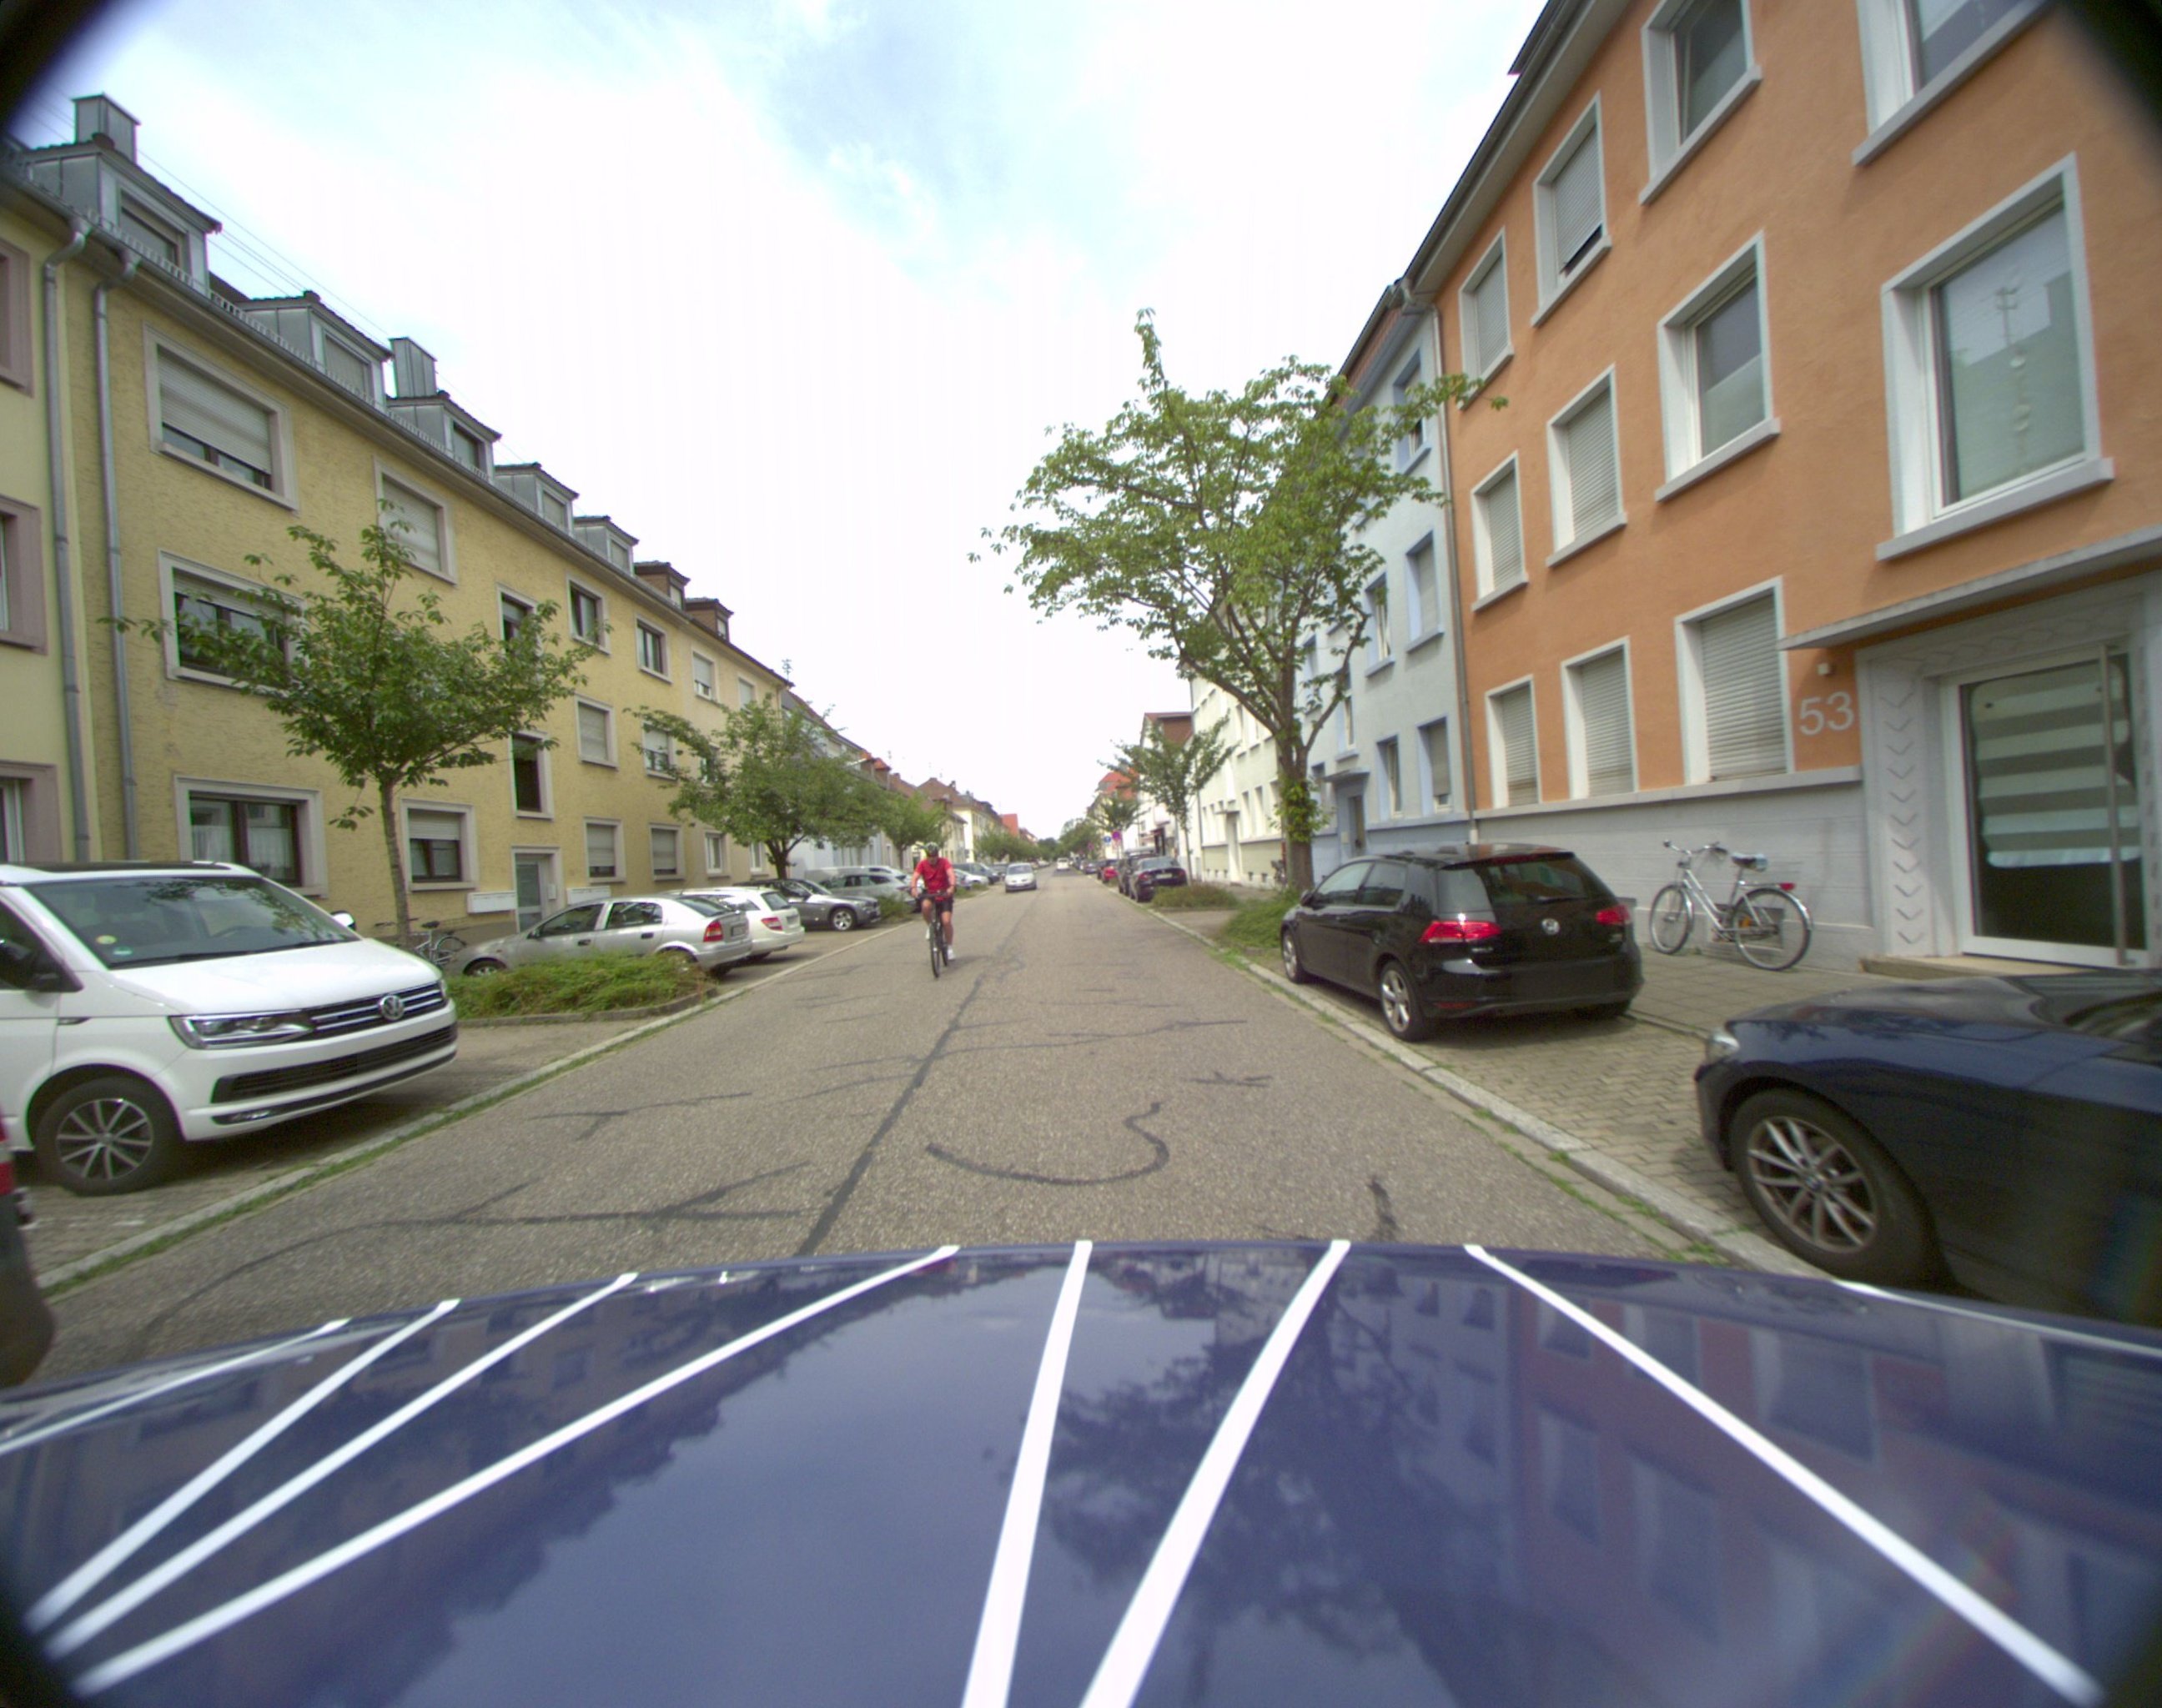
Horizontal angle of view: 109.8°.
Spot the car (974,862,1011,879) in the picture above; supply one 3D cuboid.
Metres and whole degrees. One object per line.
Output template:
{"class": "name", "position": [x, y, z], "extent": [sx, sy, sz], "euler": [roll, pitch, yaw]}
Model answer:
{"class": "car", "position": [-8.699, 1.627, 74.589], "extent": [3.442, 1.438, 1.646], "euler": [-4, 0, -5]}

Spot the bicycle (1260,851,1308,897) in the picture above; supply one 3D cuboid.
{"class": "bicycle", "position": [4.305, 0.406, 16.216], "extent": [0.414, 0.868, 1.538], "euler": [-13, 1, -1]}

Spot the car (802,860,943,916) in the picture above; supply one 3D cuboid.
{"class": "car", "position": [-7.772, 1.245, 28.622], "extent": [4.751, 1.899, 1.850], "euler": [-2, 1, -1]}

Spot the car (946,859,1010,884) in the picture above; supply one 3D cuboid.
{"class": "car", "position": [-8.088, 1.367, 59.973], "extent": [4.720, 1.816, 1.870], "euler": [-2, 1, -1]}

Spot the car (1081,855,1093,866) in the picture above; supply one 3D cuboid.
{"class": "car", "position": [0.928, 0.896, 111.676], "extent": [1.626, 1.495, 3.442], "euler": [-2, 0, -1]}

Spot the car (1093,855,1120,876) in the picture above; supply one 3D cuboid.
{"class": "car", "position": [1.877, 0.841, 56.444], "extent": [1.711, 1.477, 3.442], "euler": [-2, 0, -3]}

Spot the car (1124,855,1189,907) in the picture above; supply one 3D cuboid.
{"class": "car", "position": [2.534, 0.855, 26.473], "extent": [1.706, 1.533, 4.248], "euler": [-3, 0, -1]}

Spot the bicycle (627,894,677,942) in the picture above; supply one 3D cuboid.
{"class": "bicycle", "position": [-11.763, 1.733, 20.868], "extent": [0.480, 1.133, 1.635], "euler": [-2, 1, -3]}

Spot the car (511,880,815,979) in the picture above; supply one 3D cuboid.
{"class": "car", "position": [-7.593, 1.339, 14.194], "extent": [4.559, 1.501, 1.850], "euler": [-2, 1, -3]}

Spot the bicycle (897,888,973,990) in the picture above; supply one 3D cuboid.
{"class": "bicycle", "position": [-2.089, 1.183, 11.123], "extent": [0.693, 1.220, 1.936], "euler": [-4, 1, -1]}

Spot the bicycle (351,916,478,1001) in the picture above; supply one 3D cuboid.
{"class": "bicycle", "position": [-11.527, 1.774, 13.240], "extent": [0.587, 1.192, 1.875], "euler": [-2, 1, -3]}

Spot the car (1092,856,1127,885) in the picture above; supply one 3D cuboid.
{"class": "car", "position": [1.717, 0.985, 47.057], "extent": [1.711, 1.591, 4.115], "euler": [-2, 0, -3]}

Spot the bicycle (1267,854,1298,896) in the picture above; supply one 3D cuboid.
{"class": "bicycle", "position": [5.528, 0.552, 20.901], "extent": [0.368, 1.107, 1.538], "euler": [-2, 1, -1]}

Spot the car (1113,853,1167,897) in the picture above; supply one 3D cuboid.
{"class": "car", "position": [2.449, 0.832, 32.505], "extent": [1.697, 1.573, 4.247], "euler": [-5, 1, -3]}

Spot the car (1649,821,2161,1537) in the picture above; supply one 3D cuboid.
{"class": "car", "position": [3.333, 0.722, 0.988], "extent": [1.841, 1.475, 4.119], "euler": [-6, 1, -3]}

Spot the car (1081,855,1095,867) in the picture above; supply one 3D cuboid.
{"class": "car", "position": [0.908, 0.927, 103.835], "extent": [1.711, 1.495, 3.442], "euler": [-2, 0, -1]}

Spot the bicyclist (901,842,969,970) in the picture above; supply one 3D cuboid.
{"class": "bicyclist", "position": [-2.124, 0.727, 11.175], "extent": [0.694, 1.760, 0.986], "euler": [-4, 1, -1]}

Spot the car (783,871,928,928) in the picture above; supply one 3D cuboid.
{"class": "car", "position": [-7.586, 1.502, 25.890], "extent": [4.319, 1.674, 1.850], "euler": [-2, 1, -1]}

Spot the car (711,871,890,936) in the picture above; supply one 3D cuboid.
{"class": "car", "position": [-7.841, 1.365, 21.543], "extent": [4.319, 1.588, 1.850], "euler": [-2, 1, -1]}

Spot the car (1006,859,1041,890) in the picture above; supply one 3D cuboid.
{"class": "car", "position": [-3.355, 1.184, 45.045], "extent": [1.788, 1.595, 4.835], "euler": [-4, 0, -2]}

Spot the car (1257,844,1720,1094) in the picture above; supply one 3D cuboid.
{"class": "car", "position": [3.177, 0.742, 7.049], "extent": [1.841, 1.475, 4.092], "euler": [-5, 1, -3]}

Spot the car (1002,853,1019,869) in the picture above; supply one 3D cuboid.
{"class": "car", "position": [-8.179, 0.771, 87.922], "extent": [1.646, 1.666, 3.443], "euler": [-4, 0, -2]}

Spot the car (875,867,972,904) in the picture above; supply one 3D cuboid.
{"class": "car", "position": [-7.223, 1.430, 35.079], "extent": [4.120, 1.527, 1.710], "euler": [-2, 1, -2]}

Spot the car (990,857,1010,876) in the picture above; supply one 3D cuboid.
{"class": "car", "position": [-8.612, 1.349, 80.973], "extent": [1.646, 1.816, 3.442], "euler": [-4, 0, -2]}

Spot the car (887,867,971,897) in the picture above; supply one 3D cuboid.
{"class": "car", "position": [-8.553, 1.586, 42.968], "extent": [4.404, 1.491, 1.710], "euler": [-2, 1, -2]}

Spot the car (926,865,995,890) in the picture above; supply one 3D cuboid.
{"class": "car", "position": [-8.192, 1.577, 51.851], "extent": [4.404, 1.527, 1.870], "euler": [-2, 1, -1]}

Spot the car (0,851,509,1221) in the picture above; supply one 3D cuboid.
{"class": "car", "position": [-7.368, 1.065, 5.109], "extent": [5.245, 2.011, 2.072], "euler": [-2, 1, -5]}

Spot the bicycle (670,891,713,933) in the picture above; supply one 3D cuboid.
{"class": "bicycle", "position": [-11.693, 1.718, 22.844], "extent": [0.480, 1.133, 1.635], "euler": [-2, 1, -3]}

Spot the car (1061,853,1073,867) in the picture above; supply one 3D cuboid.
{"class": "car", "position": [-2.197, 0.888, 121.554], "extent": [1.757, 2.098, 3.620], "euler": [-2, 1, -1]}

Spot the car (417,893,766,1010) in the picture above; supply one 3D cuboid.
{"class": "car", "position": [-7.338, 1.431, 11.767], "extent": [4.104, 1.406, 1.850], "euler": [-2, 1, -3]}

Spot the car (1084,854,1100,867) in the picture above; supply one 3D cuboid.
{"class": "car", "position": [1.256, 0.736, 88.618], "extent": [1.711, 1.495, 3.442], "euler": [-2, 0, -1]}

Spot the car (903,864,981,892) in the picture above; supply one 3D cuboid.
{"class": "car", "position": [-8.661, 1.485, 47.584], "extent": [4.402, 1.603, 1.871], "euler": [-2, 1, 4]}

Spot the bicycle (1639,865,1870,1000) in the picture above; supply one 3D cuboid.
{"class": "bicycle", "position": [5.904, 0.618, 6.816], "extent": [0.368, 1.000, 1.867], "euler": [-2, 1, -1]}

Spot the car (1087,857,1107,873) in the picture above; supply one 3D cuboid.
{"class": "car", "position": [1.554, 1.030, 74.732], "extent": [1.711, 1.438, 3.442], "euler": [-2, 0, -3]}
